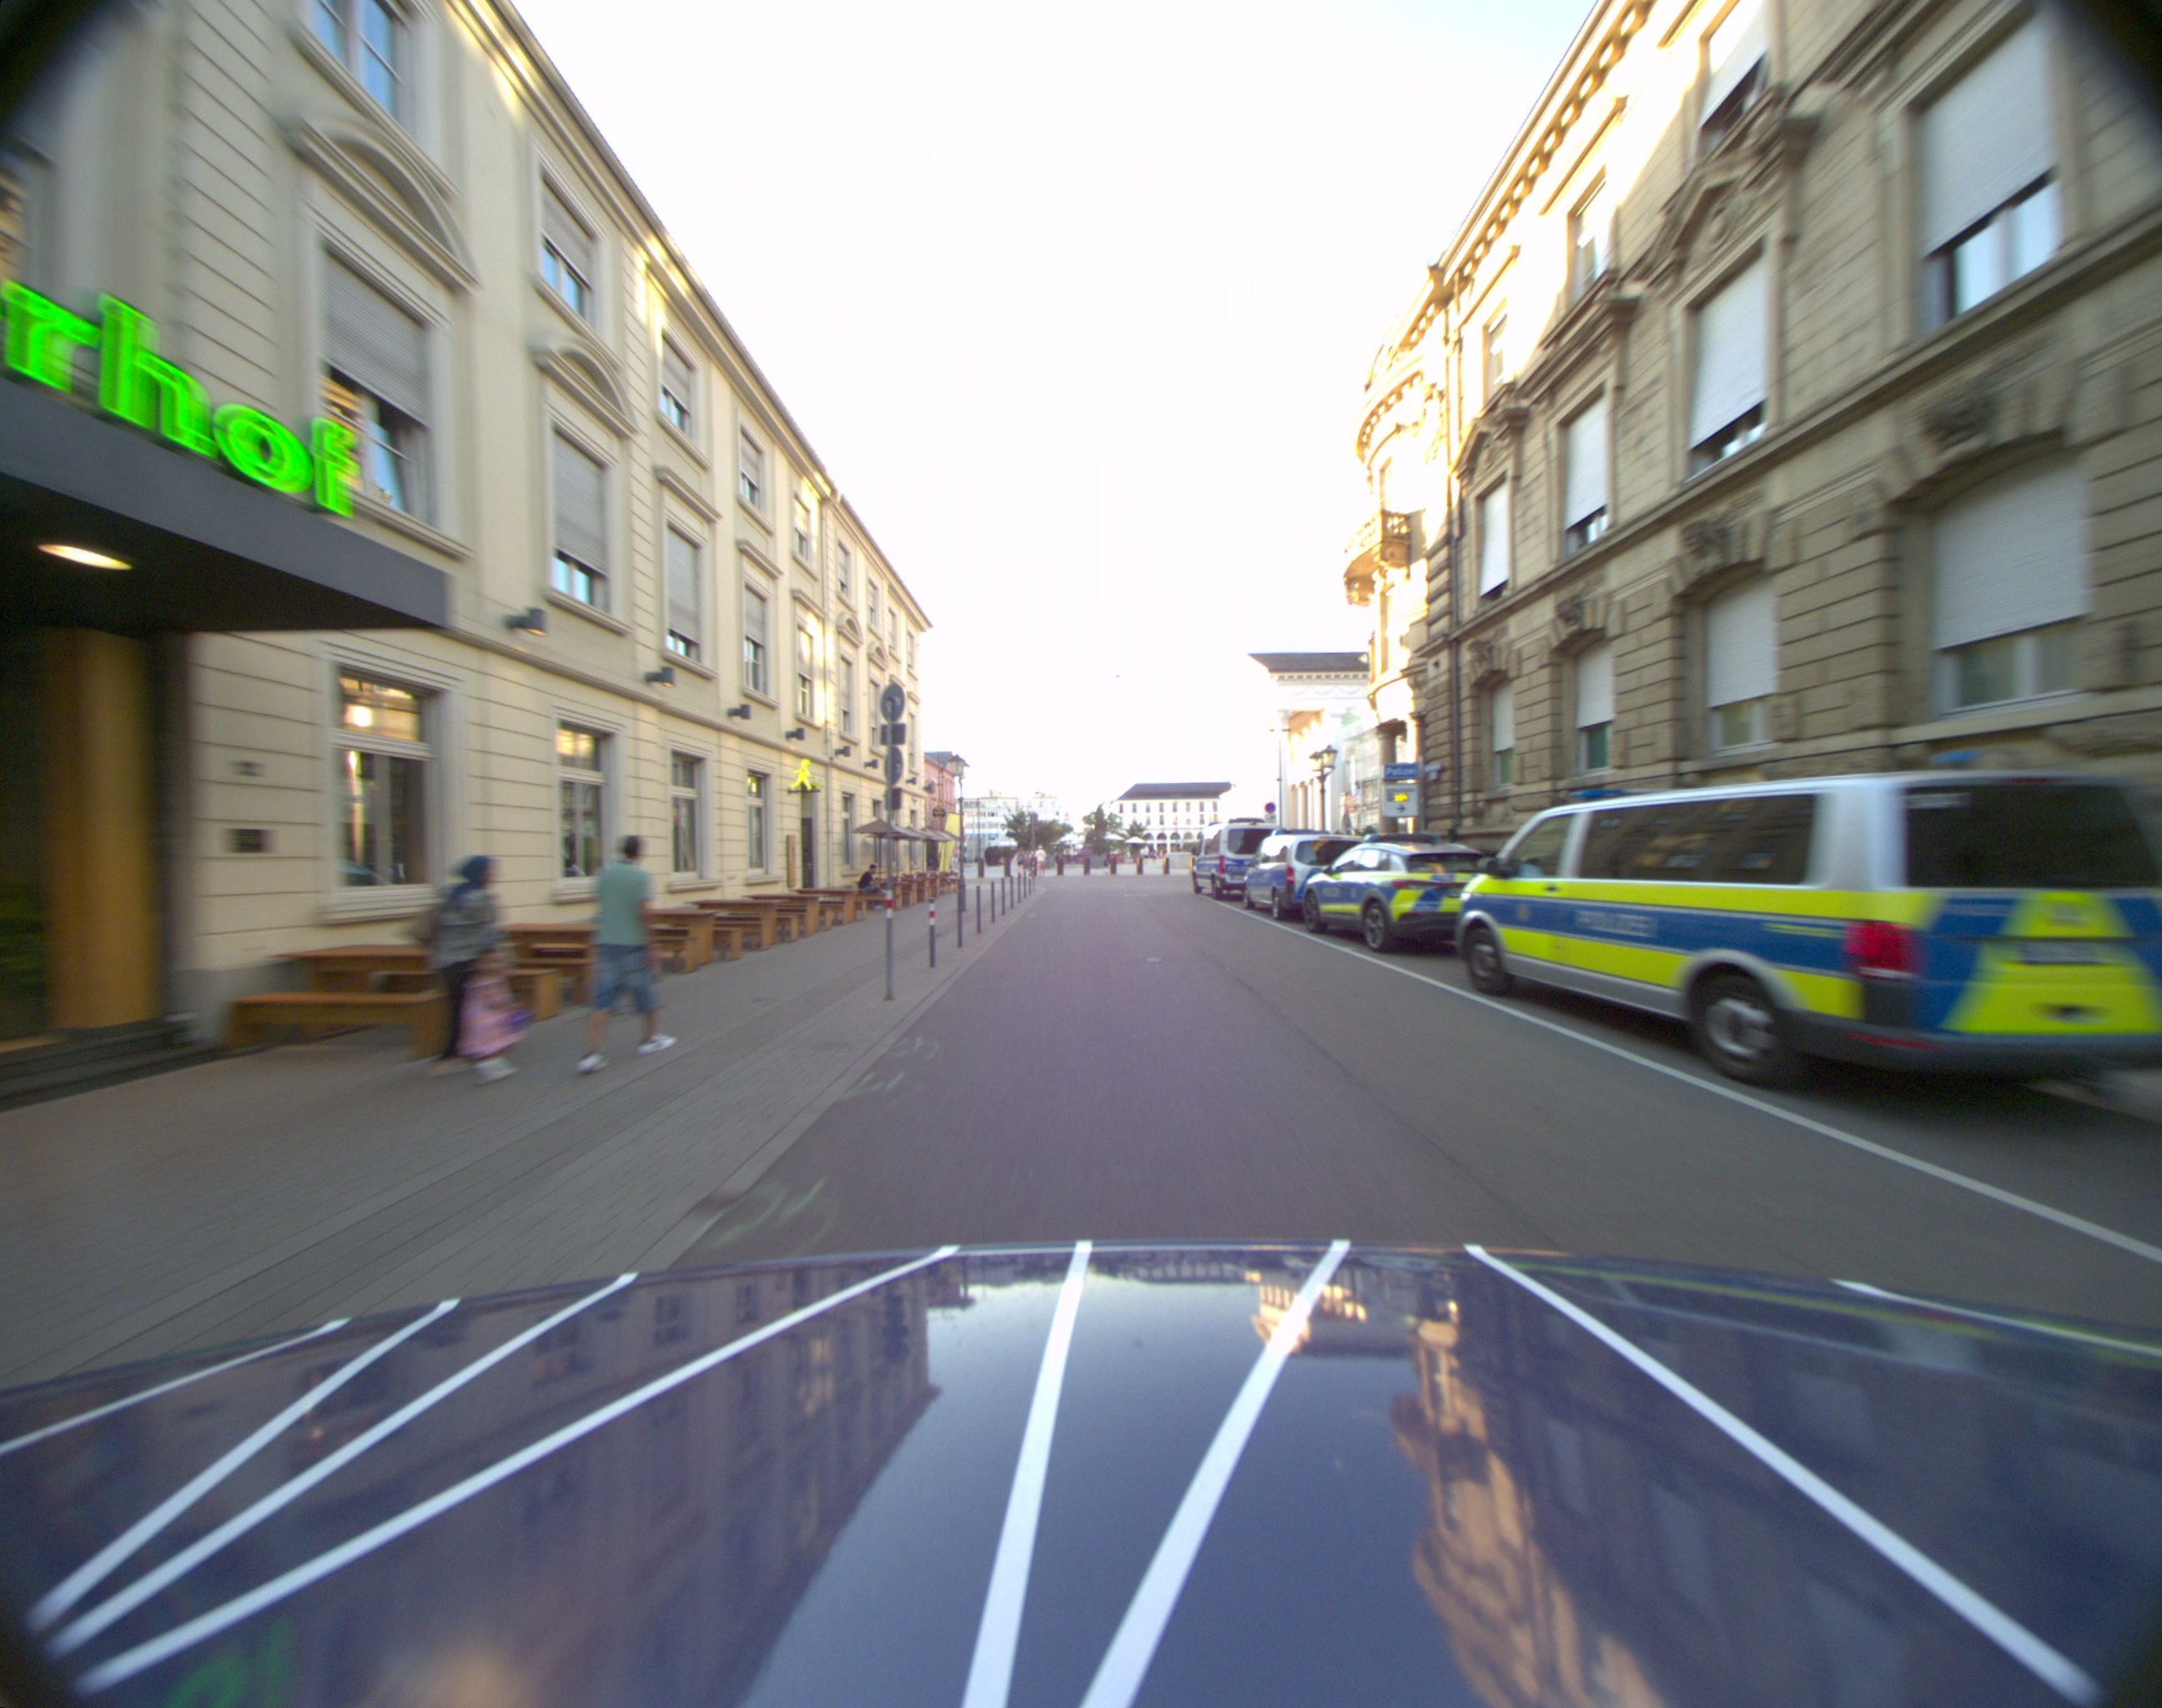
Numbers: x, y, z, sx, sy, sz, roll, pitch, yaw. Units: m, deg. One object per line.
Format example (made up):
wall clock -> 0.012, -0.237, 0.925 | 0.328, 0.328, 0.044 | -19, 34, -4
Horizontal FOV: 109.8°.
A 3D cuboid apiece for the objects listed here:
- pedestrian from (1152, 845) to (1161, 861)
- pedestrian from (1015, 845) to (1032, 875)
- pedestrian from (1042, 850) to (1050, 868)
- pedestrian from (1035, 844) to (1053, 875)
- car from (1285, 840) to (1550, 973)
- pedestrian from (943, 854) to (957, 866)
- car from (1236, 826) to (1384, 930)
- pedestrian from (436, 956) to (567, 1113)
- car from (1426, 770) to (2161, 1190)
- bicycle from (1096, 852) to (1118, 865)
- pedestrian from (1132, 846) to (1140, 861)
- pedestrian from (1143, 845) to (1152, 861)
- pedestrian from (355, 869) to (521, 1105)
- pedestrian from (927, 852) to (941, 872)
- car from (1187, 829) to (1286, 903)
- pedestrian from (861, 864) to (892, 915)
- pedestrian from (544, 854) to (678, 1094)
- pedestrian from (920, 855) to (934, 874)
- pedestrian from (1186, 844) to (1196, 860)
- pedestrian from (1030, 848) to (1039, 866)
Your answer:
pedestrian -> 8.165, -0.097, 82.105 | 0.856, 1.720, 0.881 | -1, 1, 4
pedestrian -> -3.294, 0.344, 43.438 | 0.607, 1.720, 0.719 | 0, 1, 43
pedestrian -> -3.005, 0.399, 65.490 | 0.683, 1.550, 0.652 | -1, 1, -2
pedestrian -> -2.104, 0.308, 43.600 | 0.667, 1.720, 0.767 | 0, 1, 43
car -> 5.149, 0.653, 12.581 | 1.999, 1.742, 4.988 | -1, 1, -2
pedestrian -> -13.825, 0.636, 80.043 | 1.405, 1.255, 1.326 | -1, 1, -12
car -> 5.185, 0.451, 18.018 | 1.998, 2.075, 5.206 | -1, 1, 1
pedestrian -> -4.073, 1.246, 5.372 | 0.461, 0.974, 0.558 | -1, 1, 2
car -> 5.039, 0.576, 6.259 | 1.999, 2.065, 4.988 | -1, 1, -2
bicycle -> 2.323, 0.407, 67.562 | 1.683, 1.115, 0.846 | -1, 1, 35
pedestrian -> 6.255, -0.075, 86.961 | 0.856, 1.720, 0.881 | -1, 1, 4
pedestrian -> 7.221, -0.114, 82.640 | 0.856, 1.720, 0.881 | -1, 1, 4
pedestrian -> -4.631, 0.921, 5.513 | 0.631, 1.592, 0.615 | -1, 1, 2
pedestrian -> -10.996, 0.614, 56.878 | 0.828, 1.439, 0.585 | 0, 1, 31
car -> 4.953, 0.331, 25.025 | 1.999, 2.159, 5.205 | -1, 1, -2
pedestrian -> -5.676, 0.964, 21.100 | 0.777, 1.351, 0.723 | -1, 1, -16
pedestrian -> -3.521, 0.864, 5.729 | 0.608, 1.720, 0.558 | -1, 1, 2
pedestrian -> -11.389, 0.779, 56.261 | 0.828, 1.439, 0.585 | 0, 1, 33
pedestrian -> 13.061, -0.211, 90.545 | 1.091, 1.900, 0.881 | -1, 1, 4
pedestrian -> -3.995, 0.254, 65.353 | 0.683, 1.557, 0.652 | -1, 1, -2
